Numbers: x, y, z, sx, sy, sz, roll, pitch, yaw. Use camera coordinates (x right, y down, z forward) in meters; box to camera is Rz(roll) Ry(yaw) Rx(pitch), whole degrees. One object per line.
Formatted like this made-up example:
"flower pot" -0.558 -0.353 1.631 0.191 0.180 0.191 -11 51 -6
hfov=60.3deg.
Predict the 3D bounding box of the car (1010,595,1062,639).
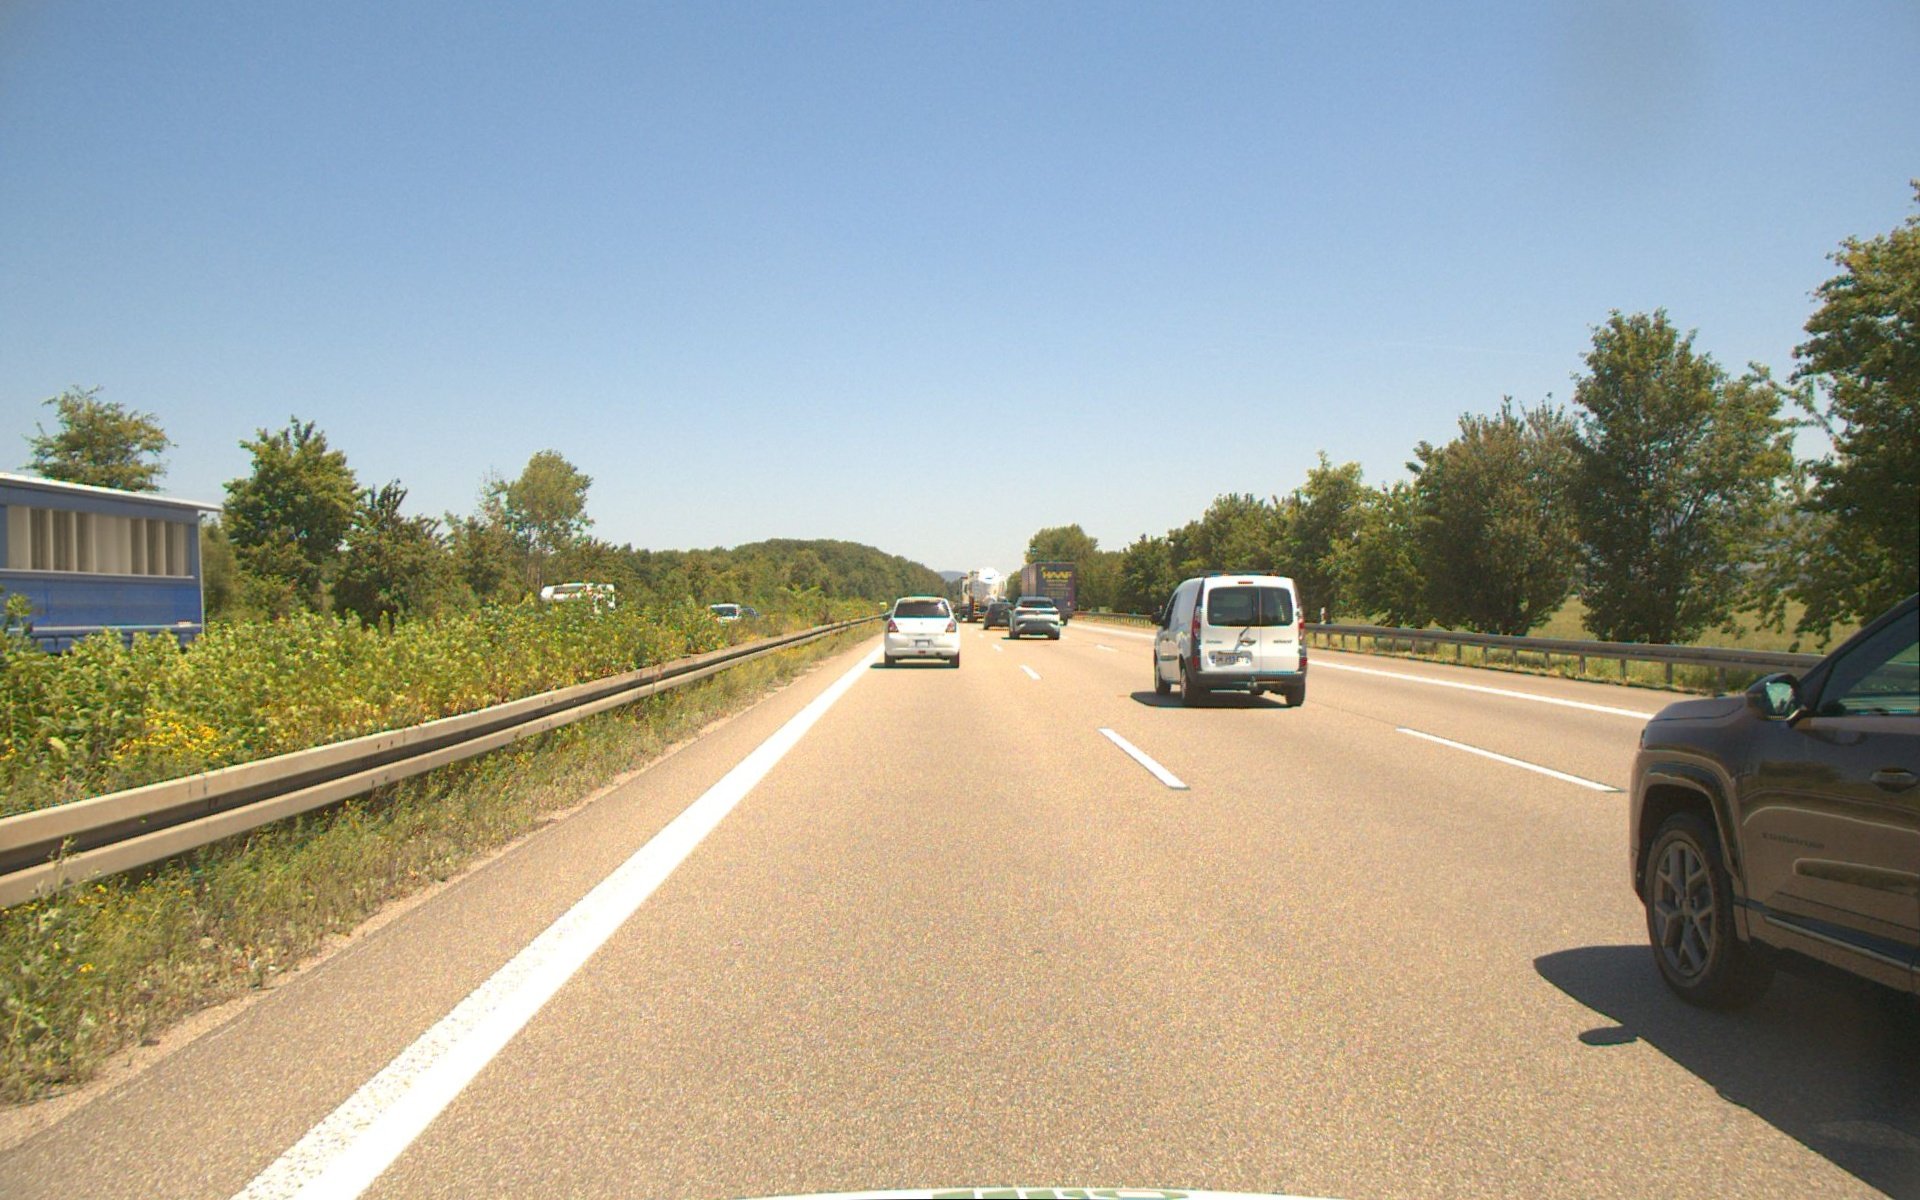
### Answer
"car" 2.918 0.651 64.554 1.765 1.631 4.380 1 0 -1

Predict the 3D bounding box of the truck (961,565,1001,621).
"truck" 1.538 -0.528 126.437 2.852 4.151 7.193 1 0 -1

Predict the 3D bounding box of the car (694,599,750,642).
"car" -10.231 0.858 71.379 1.700 1.643 4.589 -6 0 -1

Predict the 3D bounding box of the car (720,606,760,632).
"car" -13.714 1.182 103.462 1.917 1.493 4.750 -2 0 -1

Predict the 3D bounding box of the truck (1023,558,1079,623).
"truck" 6.178 -0.603 114.794 3.045 4.211 15.510 1 0 0

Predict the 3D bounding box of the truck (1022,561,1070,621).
"truck" 6.191 -0.633 120.180 3.045 4.211 8.056 1 0 0

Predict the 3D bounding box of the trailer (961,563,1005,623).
"trailer" 1.608 -0.500 121.905 2.852 4.140 12.415 1 0 -1

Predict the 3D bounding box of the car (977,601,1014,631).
"car" 1.847 0.814 86.972 1.813 1.549 3.956 1 0 -1

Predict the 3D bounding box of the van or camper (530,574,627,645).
"van or camper" -17.715 0.438 77.213 2.792 3.021 7.445 -3 0 -1

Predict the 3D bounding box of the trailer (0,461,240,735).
"trailer" -16.488 0.060 27.720 2.917 4.285 13.731 -2 -2 -1

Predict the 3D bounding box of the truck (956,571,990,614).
"truck" 1.309 -0.767 171.397 3.325 4.287 12.082 1 0 0

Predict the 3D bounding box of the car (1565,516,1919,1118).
"car" 3.638 0.626 4.990 1.829 1.704 4.745 1 0 -1

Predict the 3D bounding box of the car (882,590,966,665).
"car" -0.815 0.591 37.158 1.763 1.579 3.609 1 0 -2

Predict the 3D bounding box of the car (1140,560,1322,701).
"car" 3.962 0.418 24.932 1.816 1.895 4.700 1 0 -2
